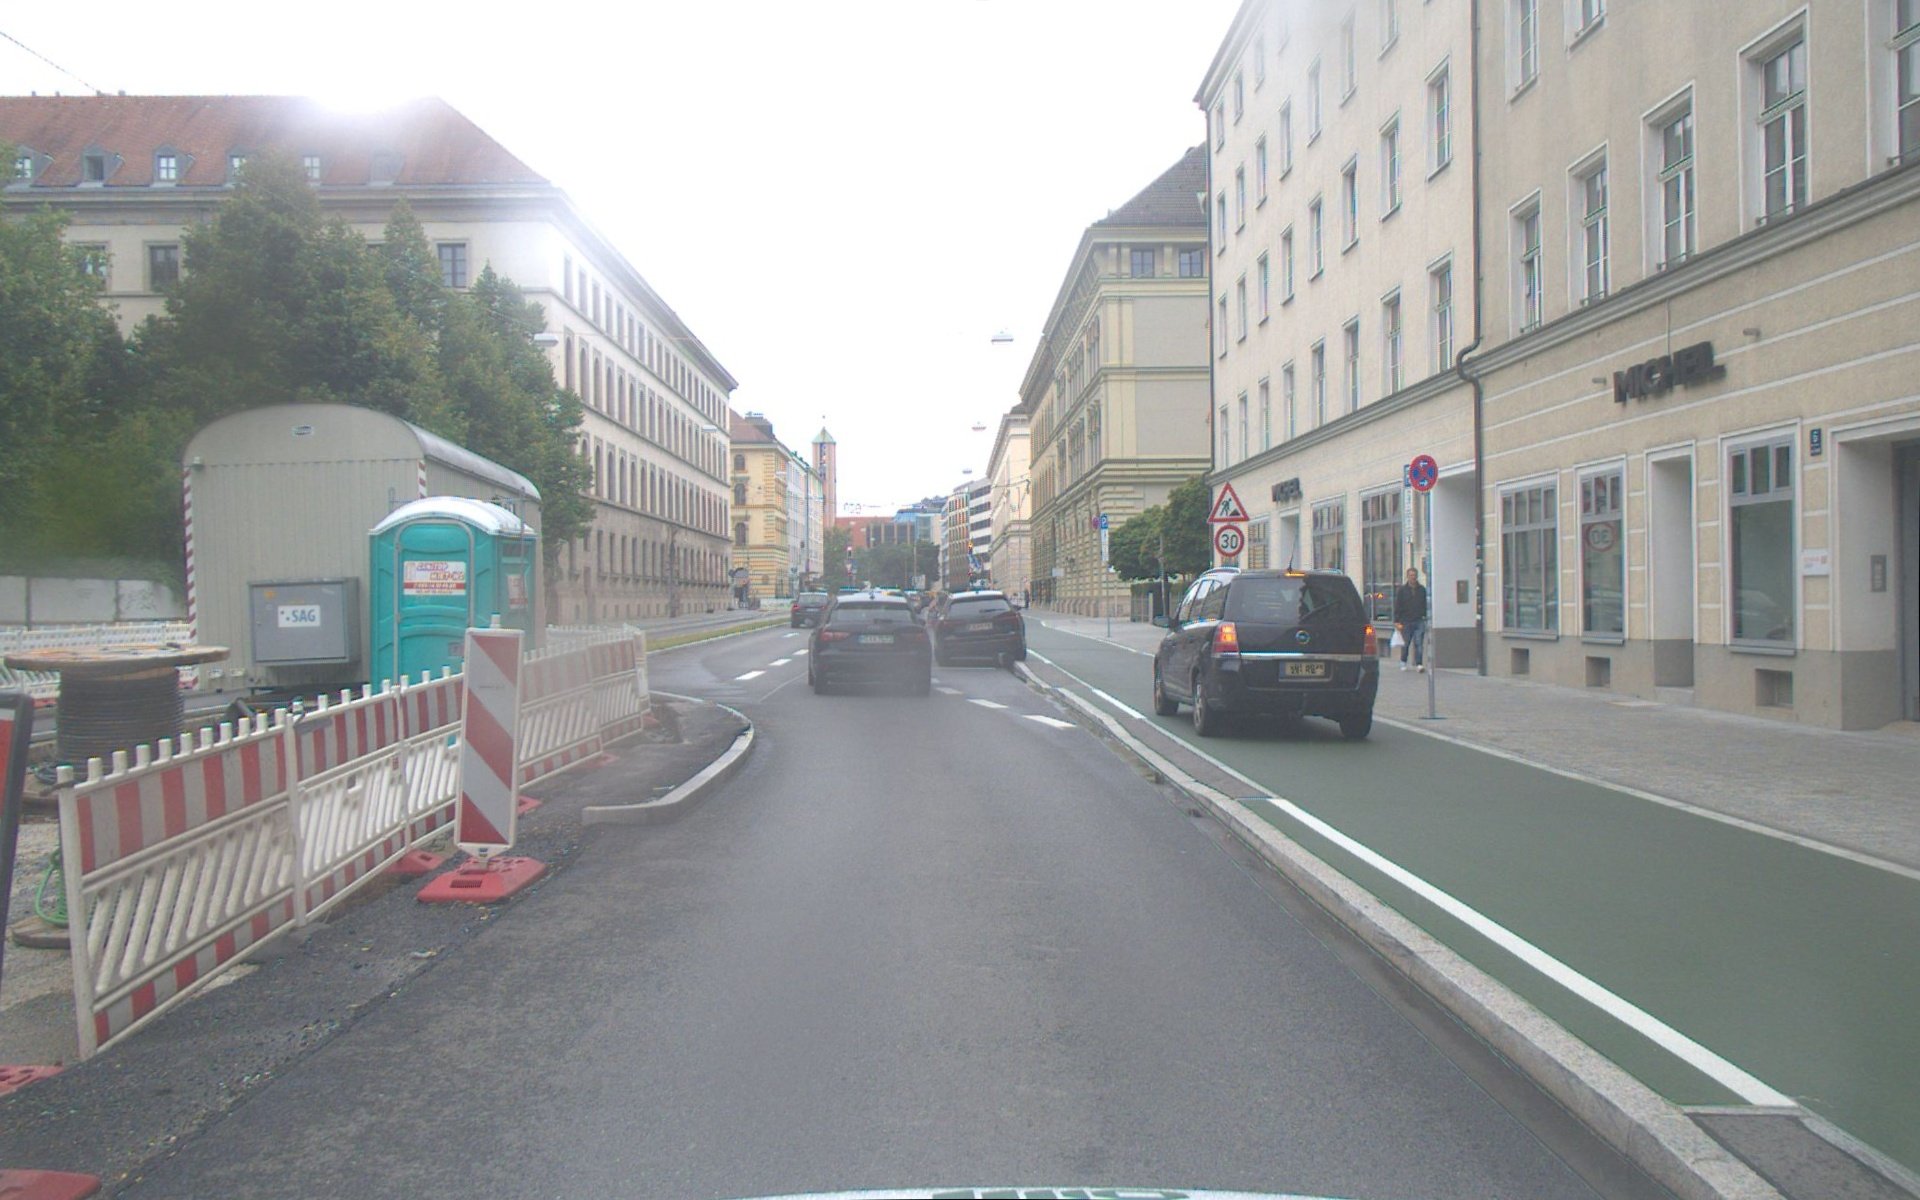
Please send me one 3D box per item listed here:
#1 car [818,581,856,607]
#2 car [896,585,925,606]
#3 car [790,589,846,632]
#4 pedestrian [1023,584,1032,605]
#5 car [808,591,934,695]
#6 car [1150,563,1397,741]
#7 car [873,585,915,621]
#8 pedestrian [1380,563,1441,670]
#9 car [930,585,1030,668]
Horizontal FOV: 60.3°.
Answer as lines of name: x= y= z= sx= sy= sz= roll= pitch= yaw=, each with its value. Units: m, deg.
car: x=-7.294 y=-0.365 z=98.089 sx=1.953 sy=1.469 sz=4.000 roll=-1 pitch=0 yaw=-1
car: x=-3.521 y=-0.320 z=118.489 sx=1.953 sy=1.469 sz=4.000 roll=-1 pitch=0 yaw=-1
car: x=-5.756 y=0.403 z=67.397 sx=1.953 sy=1.656 sz=4.000 roll=-1 pitch=0 yaw=-1
pedestrian: x=5.510 y=-0.441 z=134.562 sx=0.695 sy=1.646 sz=0.754 roll=-1 pitch=0 yaw=-1
car: x=-1.411 y=0.590 z=24.955 sx=1.697 sy=1.427 sz=3.995 roll=1 pitch=0 yaw=-6
car: x=3.139 y=0.470 z=17.317 sx=1.729 sy=1.644 sz=4.029 roll=0 pitch=0 yaw=-1
car: x=-2.814 y=0.128 z=71.124 sx=1.695 sy=1.486 sz=3.999 roll=1 pitch=0 yaw=-1
pedestrian: x=7.646 y=0.278 z=28.084 sx=0.777 sy=1.776 sz=0.833 roll=-1 pitch=0 yaw=-1
car: x=0.357 y=0.516 z=35.238 sx=1.773 sy=1.506 sz=4.460 roll=-5 pitch=1 yaw=-2
